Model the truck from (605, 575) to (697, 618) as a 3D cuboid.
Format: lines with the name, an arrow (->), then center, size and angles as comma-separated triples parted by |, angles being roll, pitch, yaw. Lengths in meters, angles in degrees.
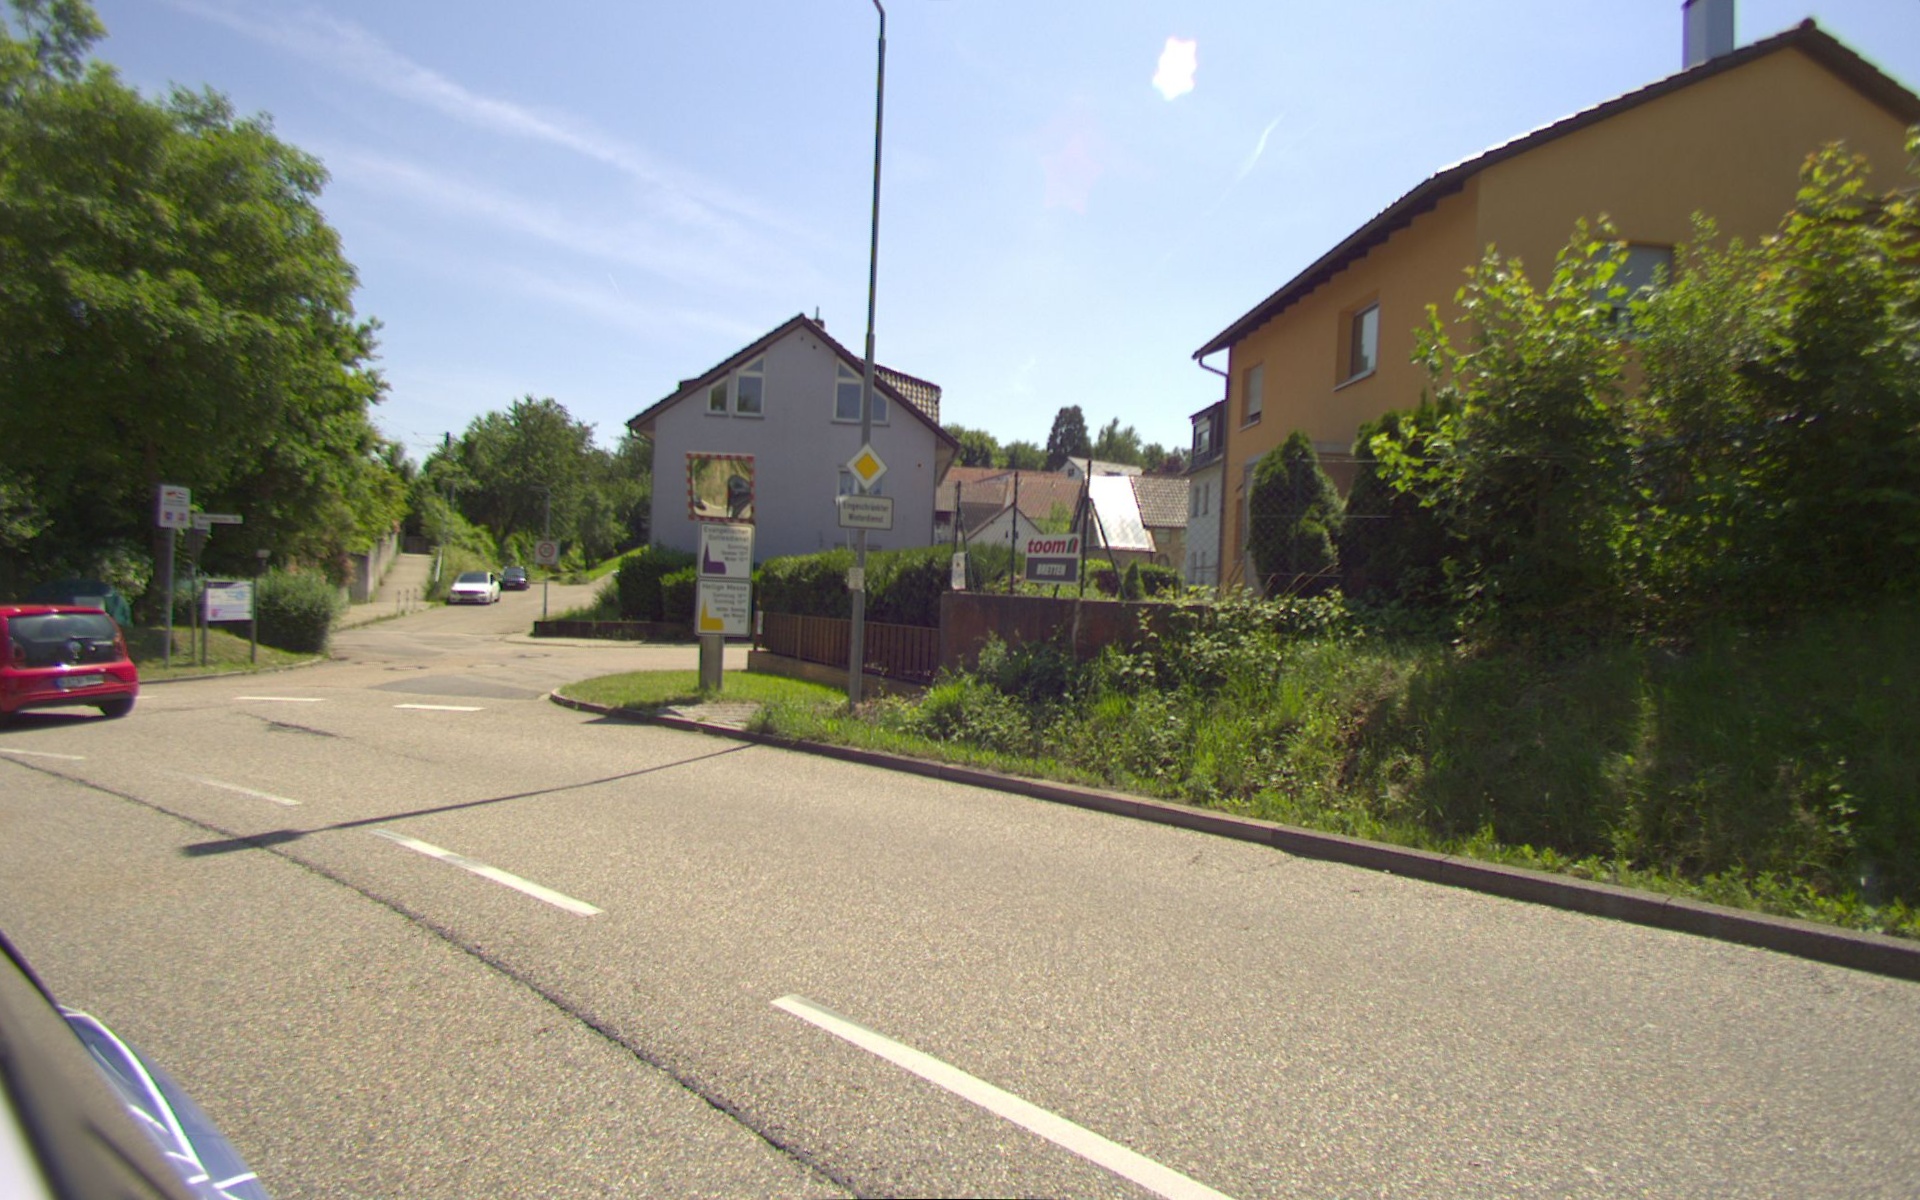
truck -> -15.798, -0.207, 51.978 | 4.246, 2.029, 2.004 | -2, 1, -9

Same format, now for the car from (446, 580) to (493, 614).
car -> -24.075, -0.186, 49.807 | 1.965, 1.518, 4.014 | 0, 2, -24

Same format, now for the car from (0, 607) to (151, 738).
car -> -12.510, 0.867, 12.970 | 3.607, 1.469, 1.651 | -1, 0, 18

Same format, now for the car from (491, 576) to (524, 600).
car -> -29.301, -0.800, 65.453 | 1.720, 1.399, 4.014 | 0, 3, -27
